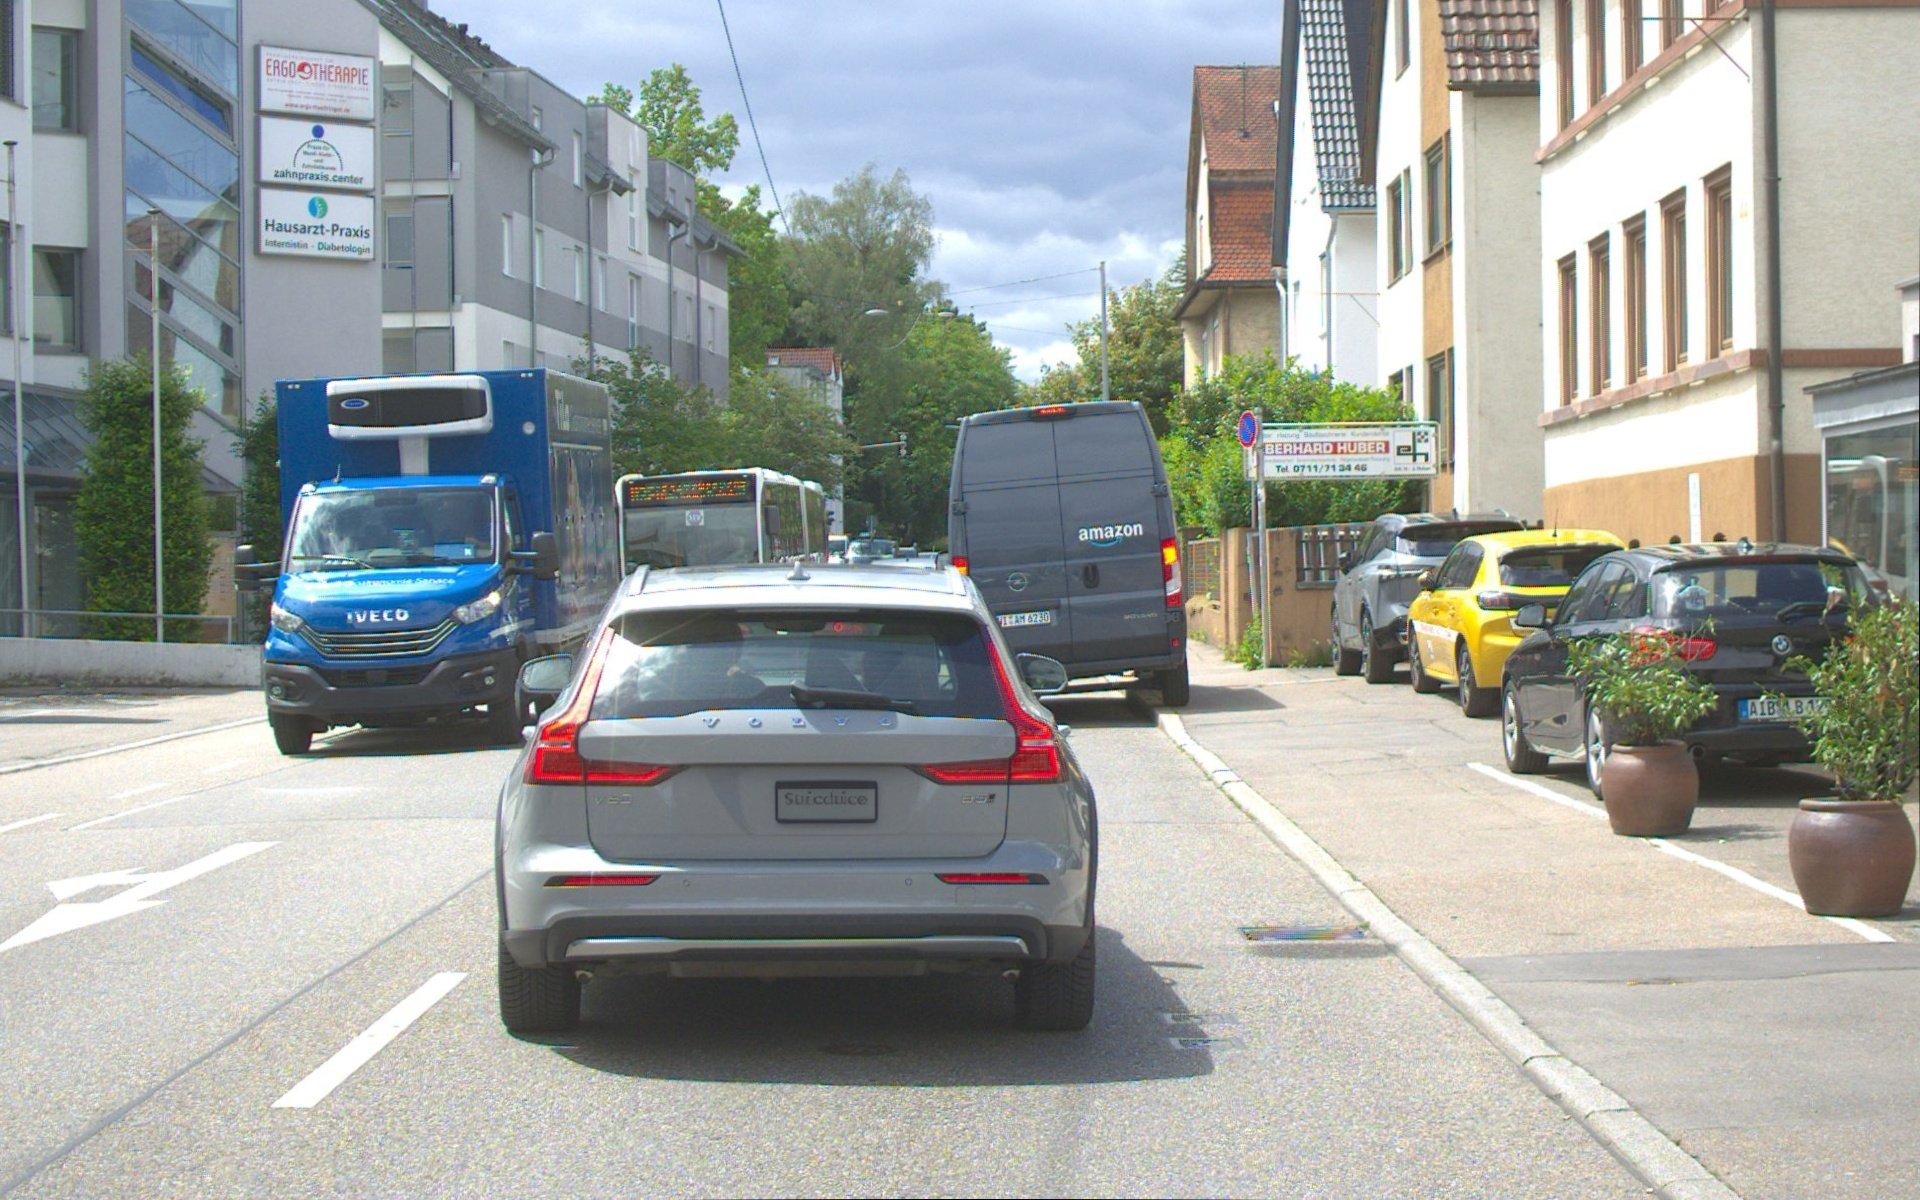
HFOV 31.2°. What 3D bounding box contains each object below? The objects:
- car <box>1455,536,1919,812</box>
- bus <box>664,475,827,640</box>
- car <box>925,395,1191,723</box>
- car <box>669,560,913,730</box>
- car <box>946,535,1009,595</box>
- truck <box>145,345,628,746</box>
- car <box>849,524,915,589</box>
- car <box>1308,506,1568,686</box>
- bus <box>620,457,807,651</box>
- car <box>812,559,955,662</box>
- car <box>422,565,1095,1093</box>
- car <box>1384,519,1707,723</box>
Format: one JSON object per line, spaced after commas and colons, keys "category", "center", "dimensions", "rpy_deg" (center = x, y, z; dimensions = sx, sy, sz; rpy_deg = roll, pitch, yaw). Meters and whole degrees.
{"category": "car", "center": [4.361, 0.363, 20.678], "dimensions": [1.968, 1.442, 4.536], "rpy_deg": [-1, 1, -2]}
{"category": "bus", "center": [-4.319, -0.874, 70.771], "dimensions": [2.716, 3.153, 8.068], "rpy_deg": [-1, 1, 1]}
{"category": "car", "center": [0.940, -0.388, 32.314], "dimensions": [2.253, 2.786, 5.569], "rpy_deg": [-1, 1, 2]}
{"category": "car", "center": [-1.487, 0.363, 31.656], "dimensions": [1.896, 1.441, 3.968], "rpy_deg": [0, 1, 2]}
{"category": "car", "center": [0.601, -1.203, 116.562], "dimensions": [1.993, 2.007, 4.000], "rpy_deg": [0, 1, 2]}
{"category": "truck", "center": [-4.844, -0.471, 30.738], "dimensions": [2.853, 3.082, 8.089], "rpy_deg": [-1, 1, 1]}
{"category": "car", "center": [-2.663, -1.517, 118.963], "dimensions": [2.105, 2.114, 4.766], "rpy_deg": [-3, 1, 0]}
{"category": "car", "center": [4.639, -0.076, 33.969], "dimensions": [1.860, 1.606, 4.586], "rpy_deg": [-2, 1, 0]}
{"category": "bus", "center": [-4.280, -0.822, 61.614], "dimensions": [2.682, 3.153, 10.185], "rpy_deg": [-1, 1, -1]}
{"category": "car", "center": [-1.104, 0.131, 51.215], "dimensions": [1.896, 1.441, 3.968], "rpy_deg": [0, 1, 2]}
{"category": "car", "center": [-0.501, 0.622, 11.679], "dimensions": [1.896, 1.448, 3.968], "rpy_deg": [0, 1, 2]}
{"category": "car", "center": [4.871, 0.114, 29.179], "dimensions": [1.877, 1.442, 4.308], "rpy_deg": [-1, 3, -2]}
